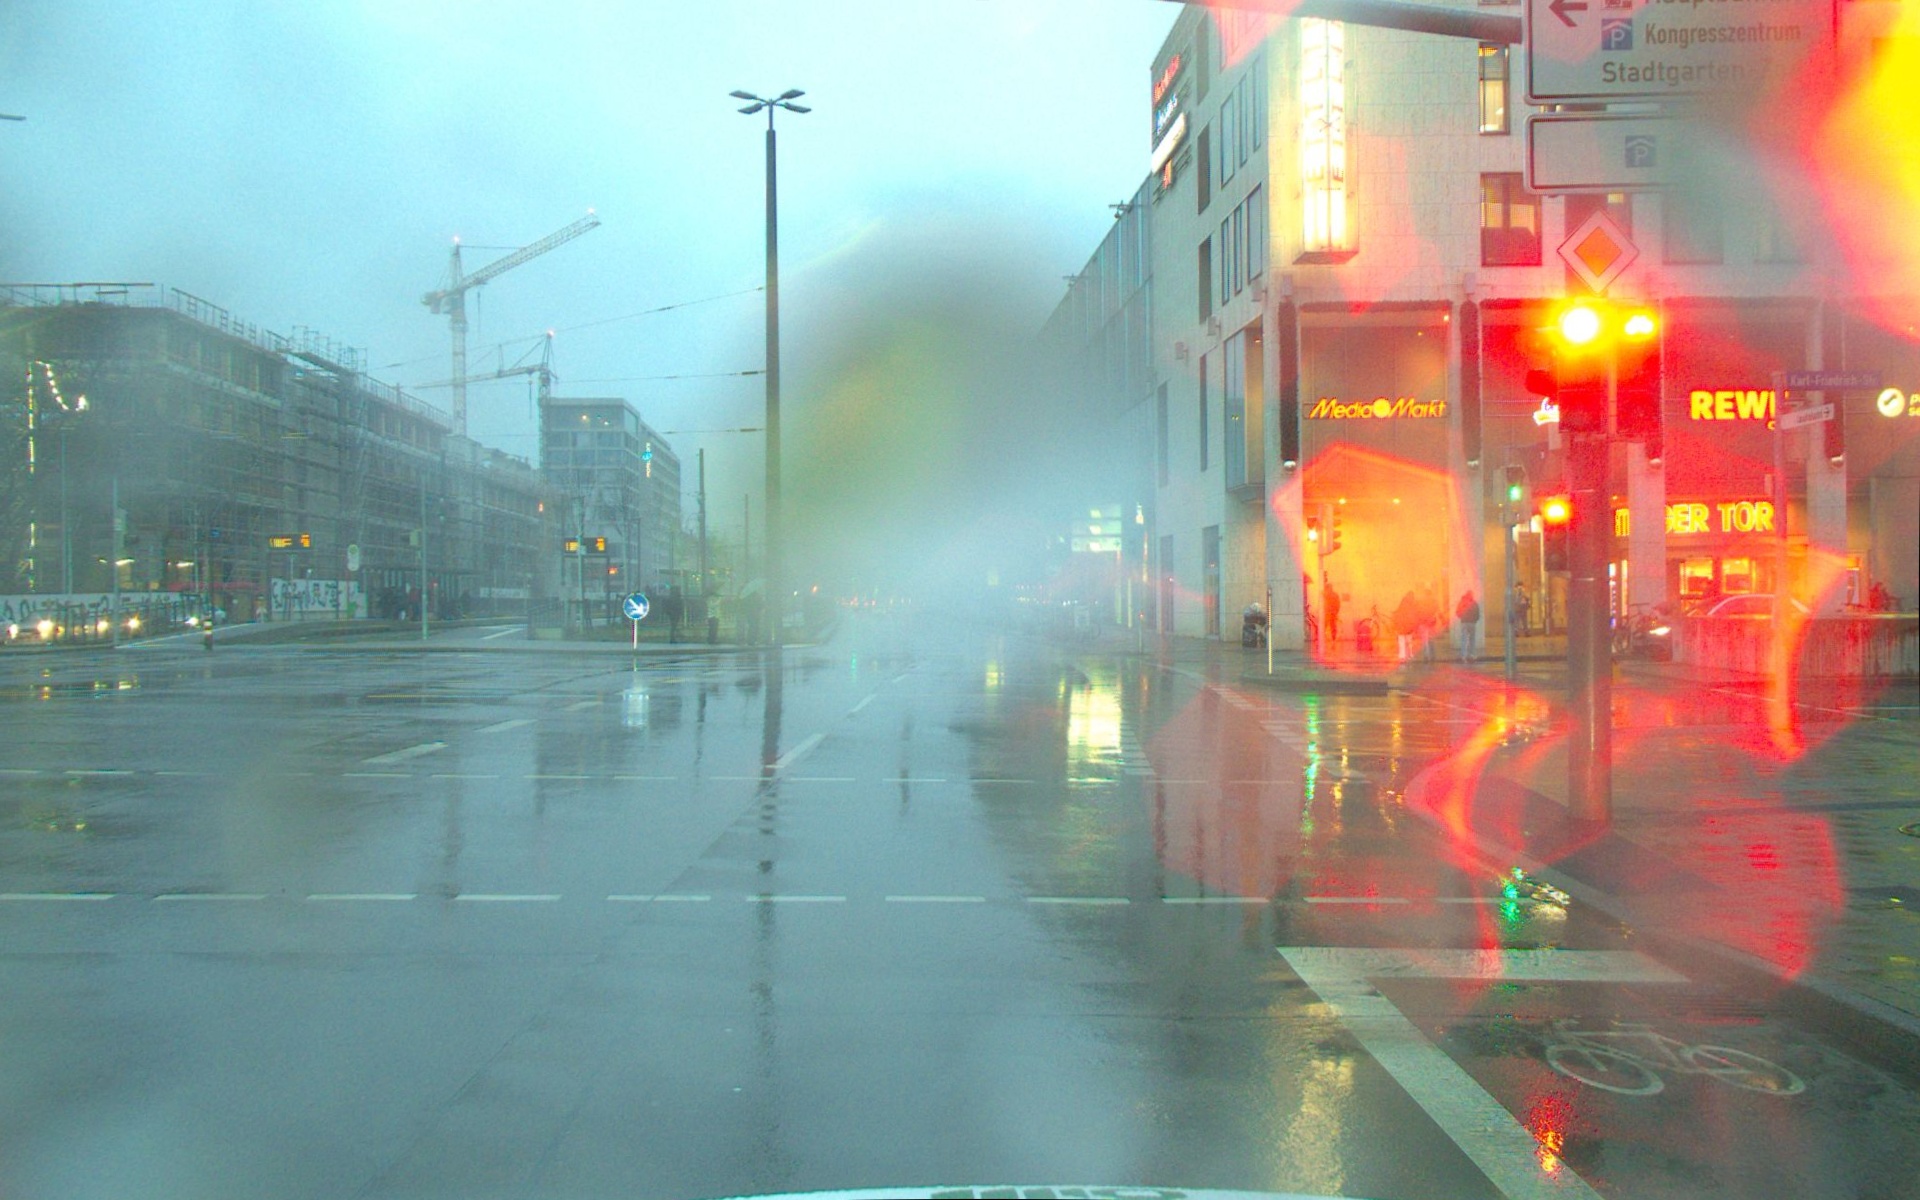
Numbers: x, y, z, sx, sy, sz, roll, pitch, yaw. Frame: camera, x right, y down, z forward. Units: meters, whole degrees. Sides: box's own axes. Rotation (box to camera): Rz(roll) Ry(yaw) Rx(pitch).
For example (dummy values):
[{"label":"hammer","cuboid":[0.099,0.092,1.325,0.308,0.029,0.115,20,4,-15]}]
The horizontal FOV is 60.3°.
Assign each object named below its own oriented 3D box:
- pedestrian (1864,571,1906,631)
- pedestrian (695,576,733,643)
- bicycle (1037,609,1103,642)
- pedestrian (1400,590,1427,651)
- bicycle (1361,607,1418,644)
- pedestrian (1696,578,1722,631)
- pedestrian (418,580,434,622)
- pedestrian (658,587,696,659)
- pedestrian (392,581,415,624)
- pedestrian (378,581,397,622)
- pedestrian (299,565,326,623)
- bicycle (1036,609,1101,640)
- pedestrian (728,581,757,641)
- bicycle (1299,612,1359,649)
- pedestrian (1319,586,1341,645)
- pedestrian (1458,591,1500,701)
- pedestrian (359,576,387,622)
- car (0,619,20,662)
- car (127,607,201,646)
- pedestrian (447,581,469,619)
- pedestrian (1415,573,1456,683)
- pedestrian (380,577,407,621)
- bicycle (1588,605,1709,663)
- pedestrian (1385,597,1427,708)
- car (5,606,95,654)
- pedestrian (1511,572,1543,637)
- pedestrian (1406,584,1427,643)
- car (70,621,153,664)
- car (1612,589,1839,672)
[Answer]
[{"label":"pedestrian","cuboid":[26.868,0.031,48.036,0.875,1.714,0.528,-1,-1,-1]},{"label":"pedestrian","cuboid":[-6.891,0.263,46.308,0.813,1.863,0.777,1,-1,-31]},{"label":"bicycle","cuboid":[4.103,0.950,61.615,2.393,1.174,0.674,-1,-1,-2]},{"label":"pedestrian","cuboid":[13.214,0.591,48.205,0.624,1.739,0.573,-1,0,-2]},{"label":"bicycle","cuboid":[13.242,0.782,51.001,1.614,1.088,0.524,1,-1,-5]},{"label":"pedestrian","cuboid":[25.026,0.154,55.246,0.721,1.748,0.738,-1,-1,27]},{"label":"pedestrian","cuboid":[-25.974,0.046,80.423,0.559,2.002,0.664,2,-1,-7]},{"label":"pedestrian","cuboid":[-8.078,0.651,47.219,0.771,2.049,0.724,0,-1,41]},{"label":"pedestrian","cuboid":[-25.611,0.129,76.129,0.750,1.931,0.762,1,-2,-1]},{"label":"pedestrian","cuboid":[-26.577,0.062,76.810,0.684,1.913,0.553,1,-1,-2]},{"label":"pedestrian","cuboid":[-26.727,-0.224,68.315,0.750,2.364,0.762,1,-2,-1]},{"label":"bicycle","cuboid":[4.084,0.915,62.321,2.376,1.118,0.711,-1,-1,-3]},{"label":"pedestrian","cuboid":[-6.289,0.316,47.850,0.601,1.715,0.575,0,-1,41]},{"label":"bicycle","cuboid":[11.332,0.931,50.809,1.733,1.088,0.524,1,-1,-6]},{"label":"pedestrian","cuboid":[11.226,0.458,50.160,0.587,1.775,0.525,1,-1,7]},{"label":"pedestrian","cuboid":[11.917,1.041,38.007,0.679,2.491,0.791,1,-1,-1]},{"label":"pedestrian","cuboid":[-26.797,-0.045,75.523,0.924,2.049,1.092,1,-1,-7]},{"label":"car","cuboid":[-36.410,1.510,60.529,2.038,1.557,4.604,-1,0,-10]},{"label":"car","cuboid":[-38.463,1.268,80.029,1.955,1.822,3.995,1,0,-6]},{"label":"pedestrian","cuboid":[-27.561,0.006,90.826,0.924,2.049,1.092,1,-1,-7]},{"label":"pedestrian","cuboid":[10.923,0.638,38.022,0.675,2.484,0.758,1,-1,-1]},{"label":"pedestrian","cuboid":[-26.707,-0.033,78.028,0.923,2.049,1.093,1,-1,-5]},{"label":"bicycle","cuboid":[17.198,0.841,41.345,2.659,1.383,0.957,-1,-1,-4]},{"label":"pedestrian","cuboid":[10.117,1.182,37.518,0.700,2.484,0.758,1,-1,-1]},{"label":"car","cuboid":[-36.898,1.188,67.160,1.830,1.860,3.993,1,0,-8]},{"label":"pedestrian","cuboid":[18.281,0.140,53.312,0.828,2.049,0.698,-1,0,8]},{"label":"pedestrian","cuboid":[13.301,0.392,48.206,0.476,1.692,0.457,-1,-1,30]},{"label":"car","cuboid":[-38.149,1.885,74.480,1.955,1.822,3.995,1,0,-6]},{"label":"car","cuboid":[16.184,0.641,35.122,3.905,1.646,2.000,1,0,0]}]
